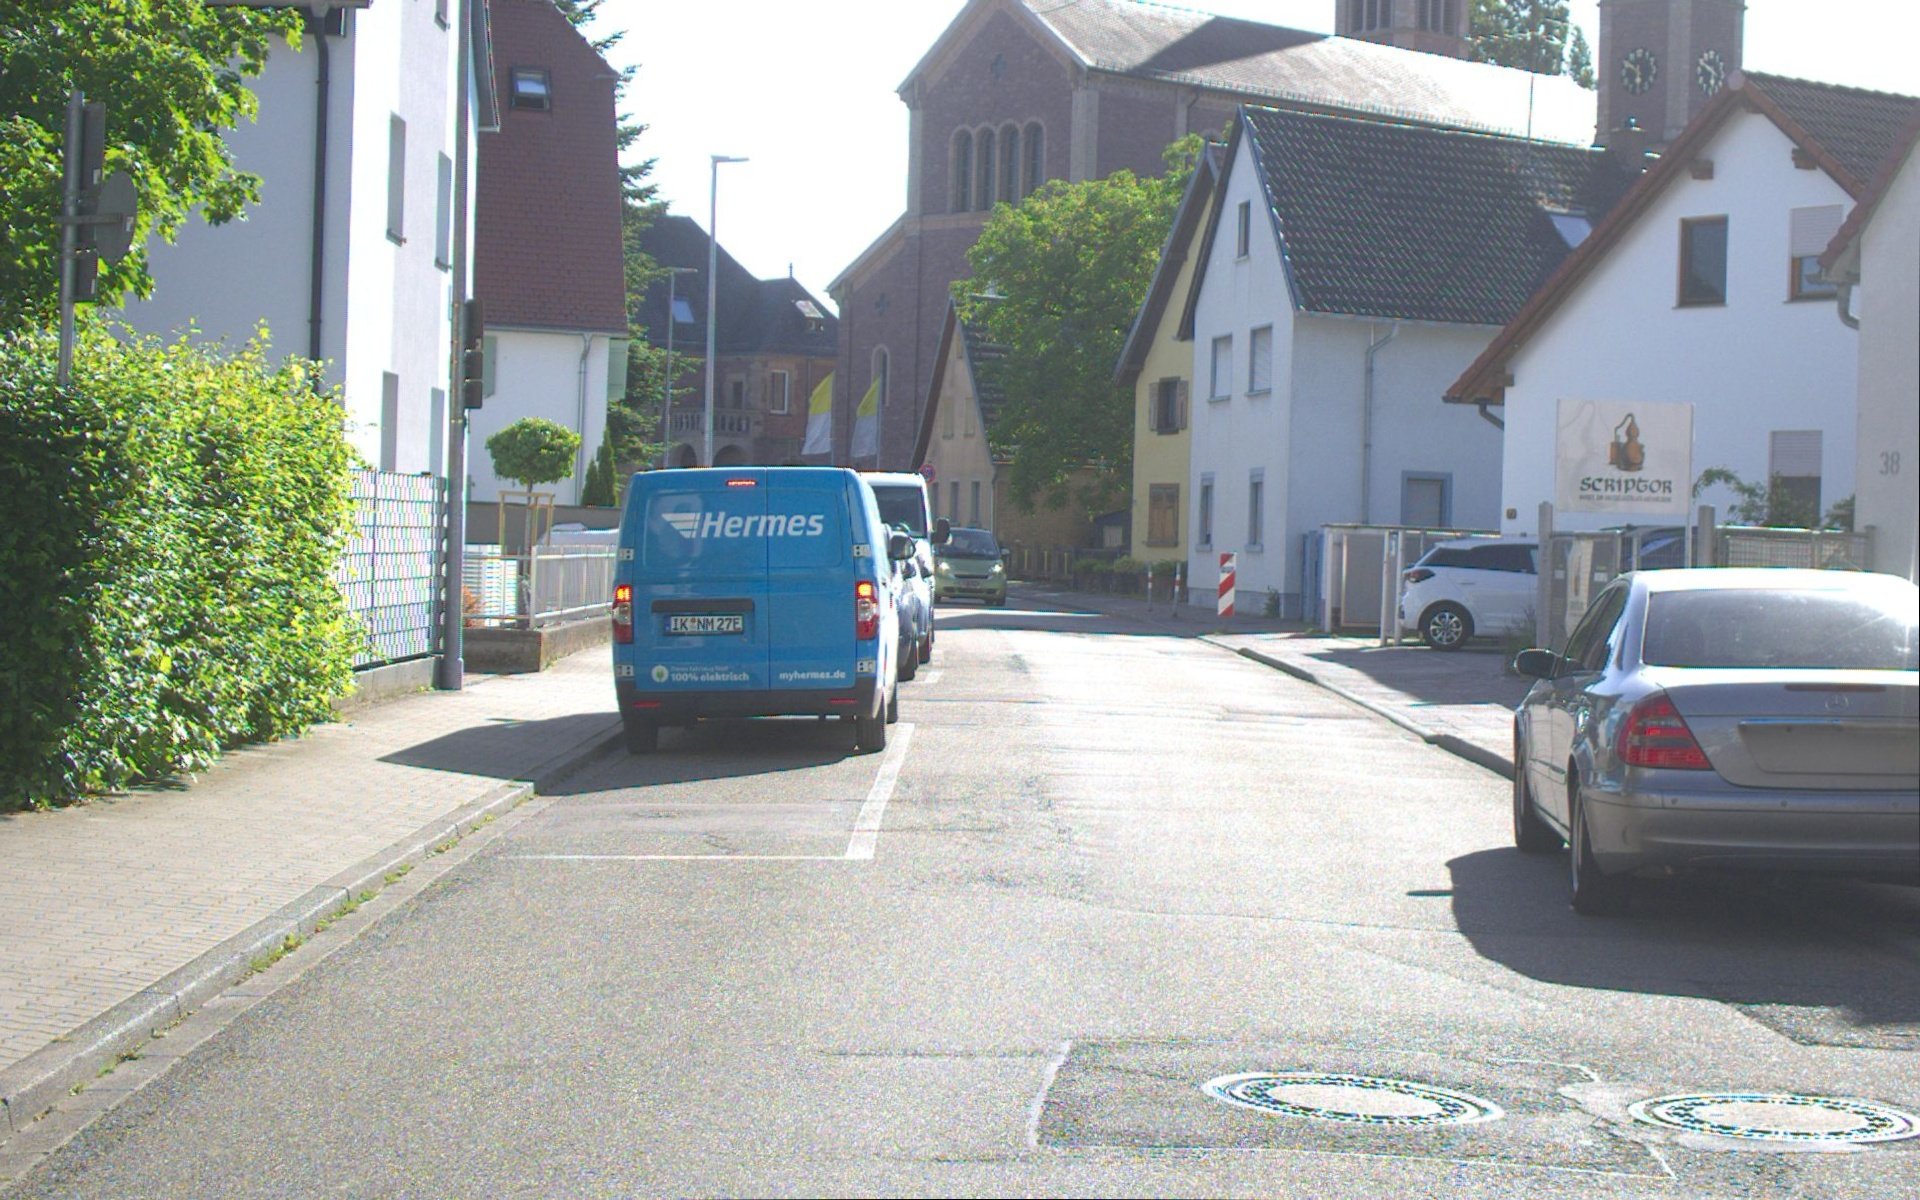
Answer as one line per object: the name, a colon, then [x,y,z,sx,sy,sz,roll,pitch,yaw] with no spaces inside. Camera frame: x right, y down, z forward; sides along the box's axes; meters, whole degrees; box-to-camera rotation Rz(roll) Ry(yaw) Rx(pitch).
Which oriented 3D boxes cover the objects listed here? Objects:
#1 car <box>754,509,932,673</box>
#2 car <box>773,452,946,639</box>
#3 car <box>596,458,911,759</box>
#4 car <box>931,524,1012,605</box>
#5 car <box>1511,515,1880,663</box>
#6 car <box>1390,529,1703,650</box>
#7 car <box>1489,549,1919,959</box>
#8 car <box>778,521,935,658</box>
car: [-1.164,-0.137,35.732,1.714,1.593,3.925,1,1,0]
car: [-1.302,-0.777,47.112,2.197,2.381,6.065,0,1,0]
car: [-1.361,-0.011,24.581,1.902,1.911,5.070,-1,1,0]
car: [0.228,-0.734,69.133,1.574,1.541,2.966,1,1,0]
car: [8.900,-0.146,41.573,4.035,1.682,1.912,0,2,-28]
car: [7.620,-0.156,44.818,3.914,1.487,1.846,1,1,9]
car: [3.498,0.560,15.297,1.812,1.470,4.659,3,1,4]
car: [-1.169,-0.165,40.324,1.711,1.499,4.235,1,1,0]
